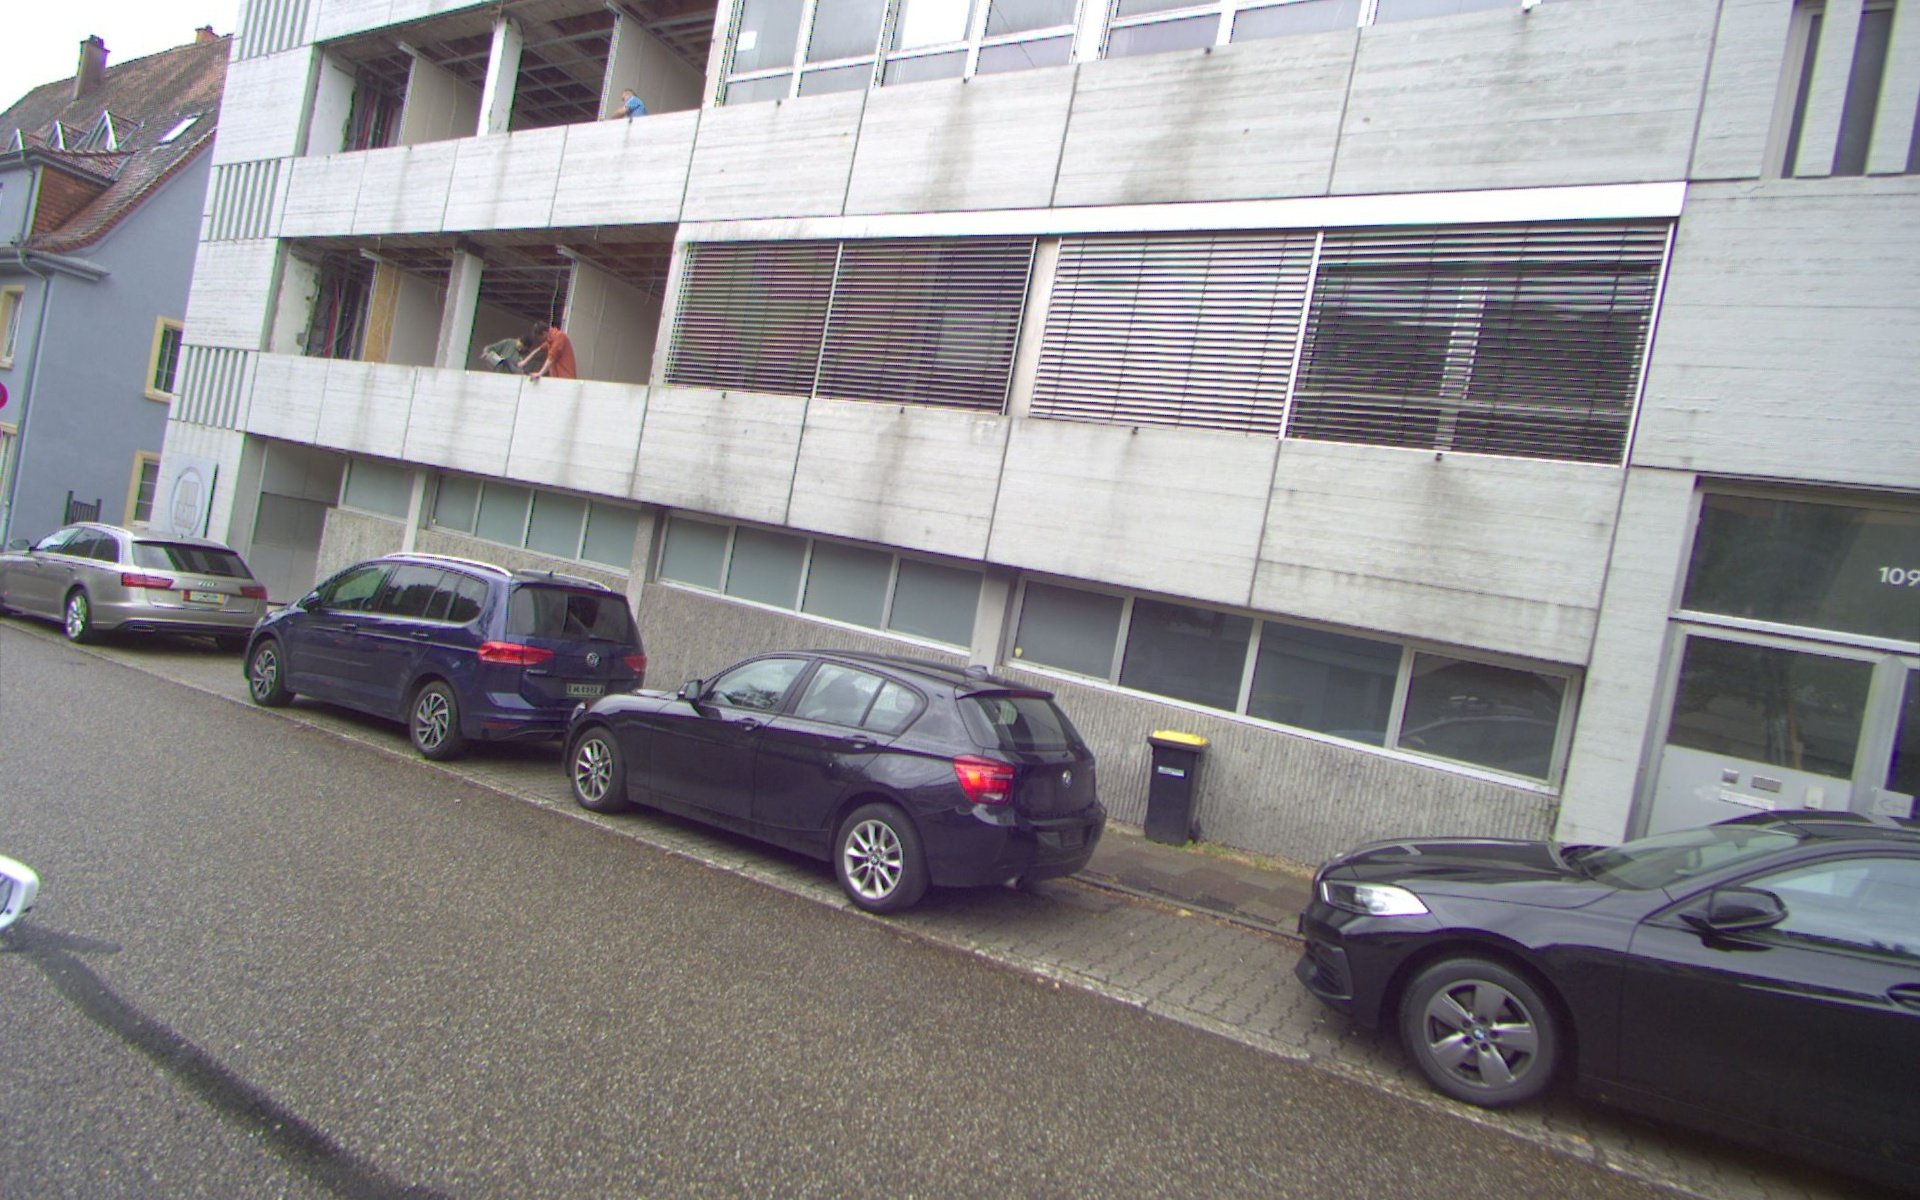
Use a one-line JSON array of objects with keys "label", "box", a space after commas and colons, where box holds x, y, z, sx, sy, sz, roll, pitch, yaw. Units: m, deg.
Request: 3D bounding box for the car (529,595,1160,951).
[{"label": "car", "box": [-0.957, 0.970, 7.104, 4.183, 1.465, 1.750, 7, -1, 34]}]

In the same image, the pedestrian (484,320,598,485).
[{"label": "pedestrian", "box": [-5.820, -2.717, 14.010, 0.847, 2.036, 0.909, 6, -2, 31]}]

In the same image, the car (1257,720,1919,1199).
[{"label": "car", "box": [3.795, 1.598, 4.332, 4.367, 1.451, 1.999, 7, -2, 30]}]

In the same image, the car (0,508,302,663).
[{"label": "car", "box": [-11.114, -0.239, 13.458, 4.449, 1.465, 1.966, 7, -1, 30]}]

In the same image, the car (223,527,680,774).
[{"label": "car", "box": [-4.829, 0.391, 9.441, 4.090, 1.618, 1.732, 7, -1, 30]}]

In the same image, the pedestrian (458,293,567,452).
[{"label": "pedestrian", "box": [-6.553, -3.296, 14.753, 0.847, 2.036, 0.909, 6, -2, 31]}]
